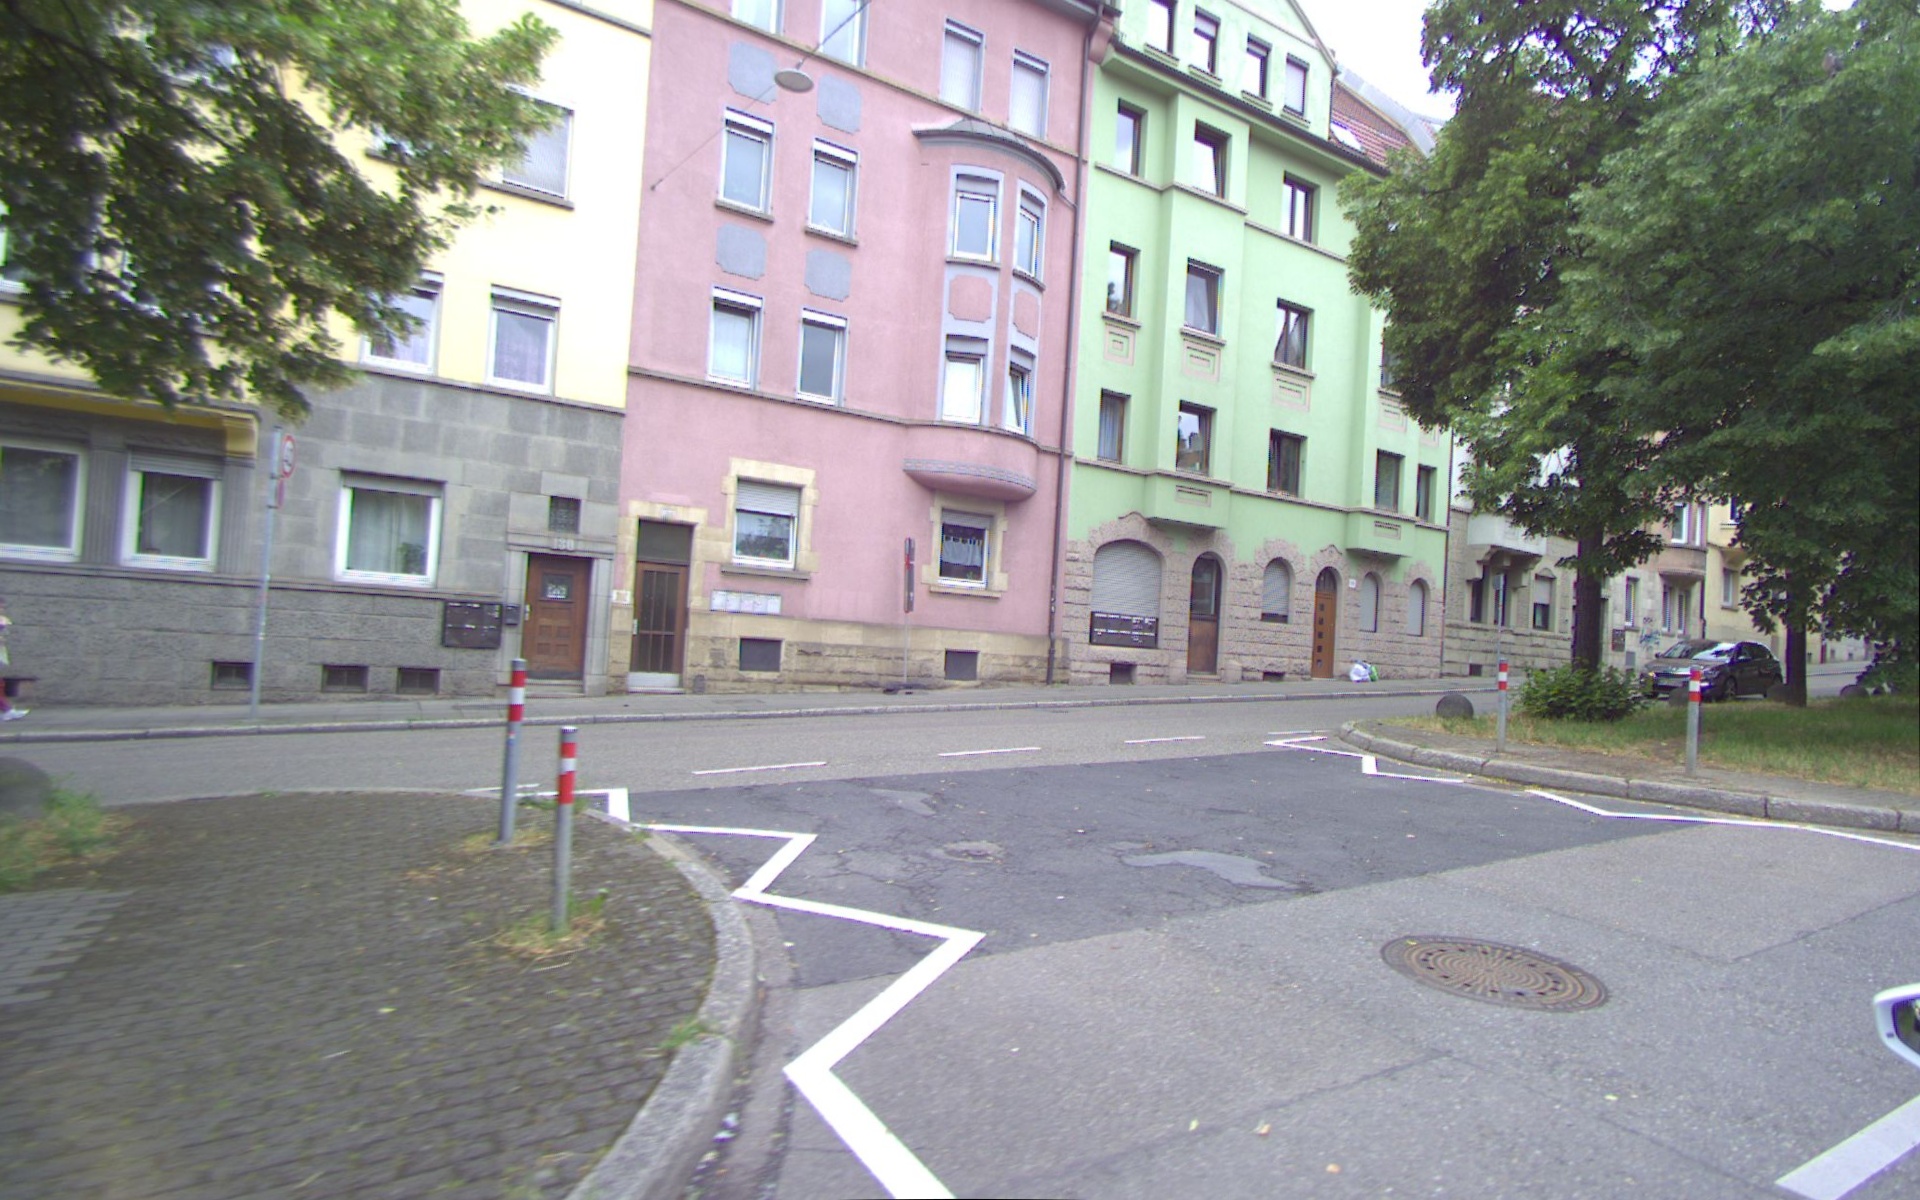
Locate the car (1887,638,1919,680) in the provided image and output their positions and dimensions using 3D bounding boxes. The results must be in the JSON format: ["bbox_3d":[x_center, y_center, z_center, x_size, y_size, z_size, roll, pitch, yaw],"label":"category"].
[{"bbox_3d":[34.242,2.022,34.887,4.613,1.400,1.750,1,-2,-31],"label":"car"}]

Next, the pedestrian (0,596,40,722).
[{"bbox_3d":[-11.698,0.701,12.145,0.696,1.480,0.695,1,1,-30],"label":"pedestrian"}]

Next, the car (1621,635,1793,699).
[{"bbox_3d":[18.110,1.558,24.304,4.613,1.400,1.700,1,-2,-31],"label":"car"}]
